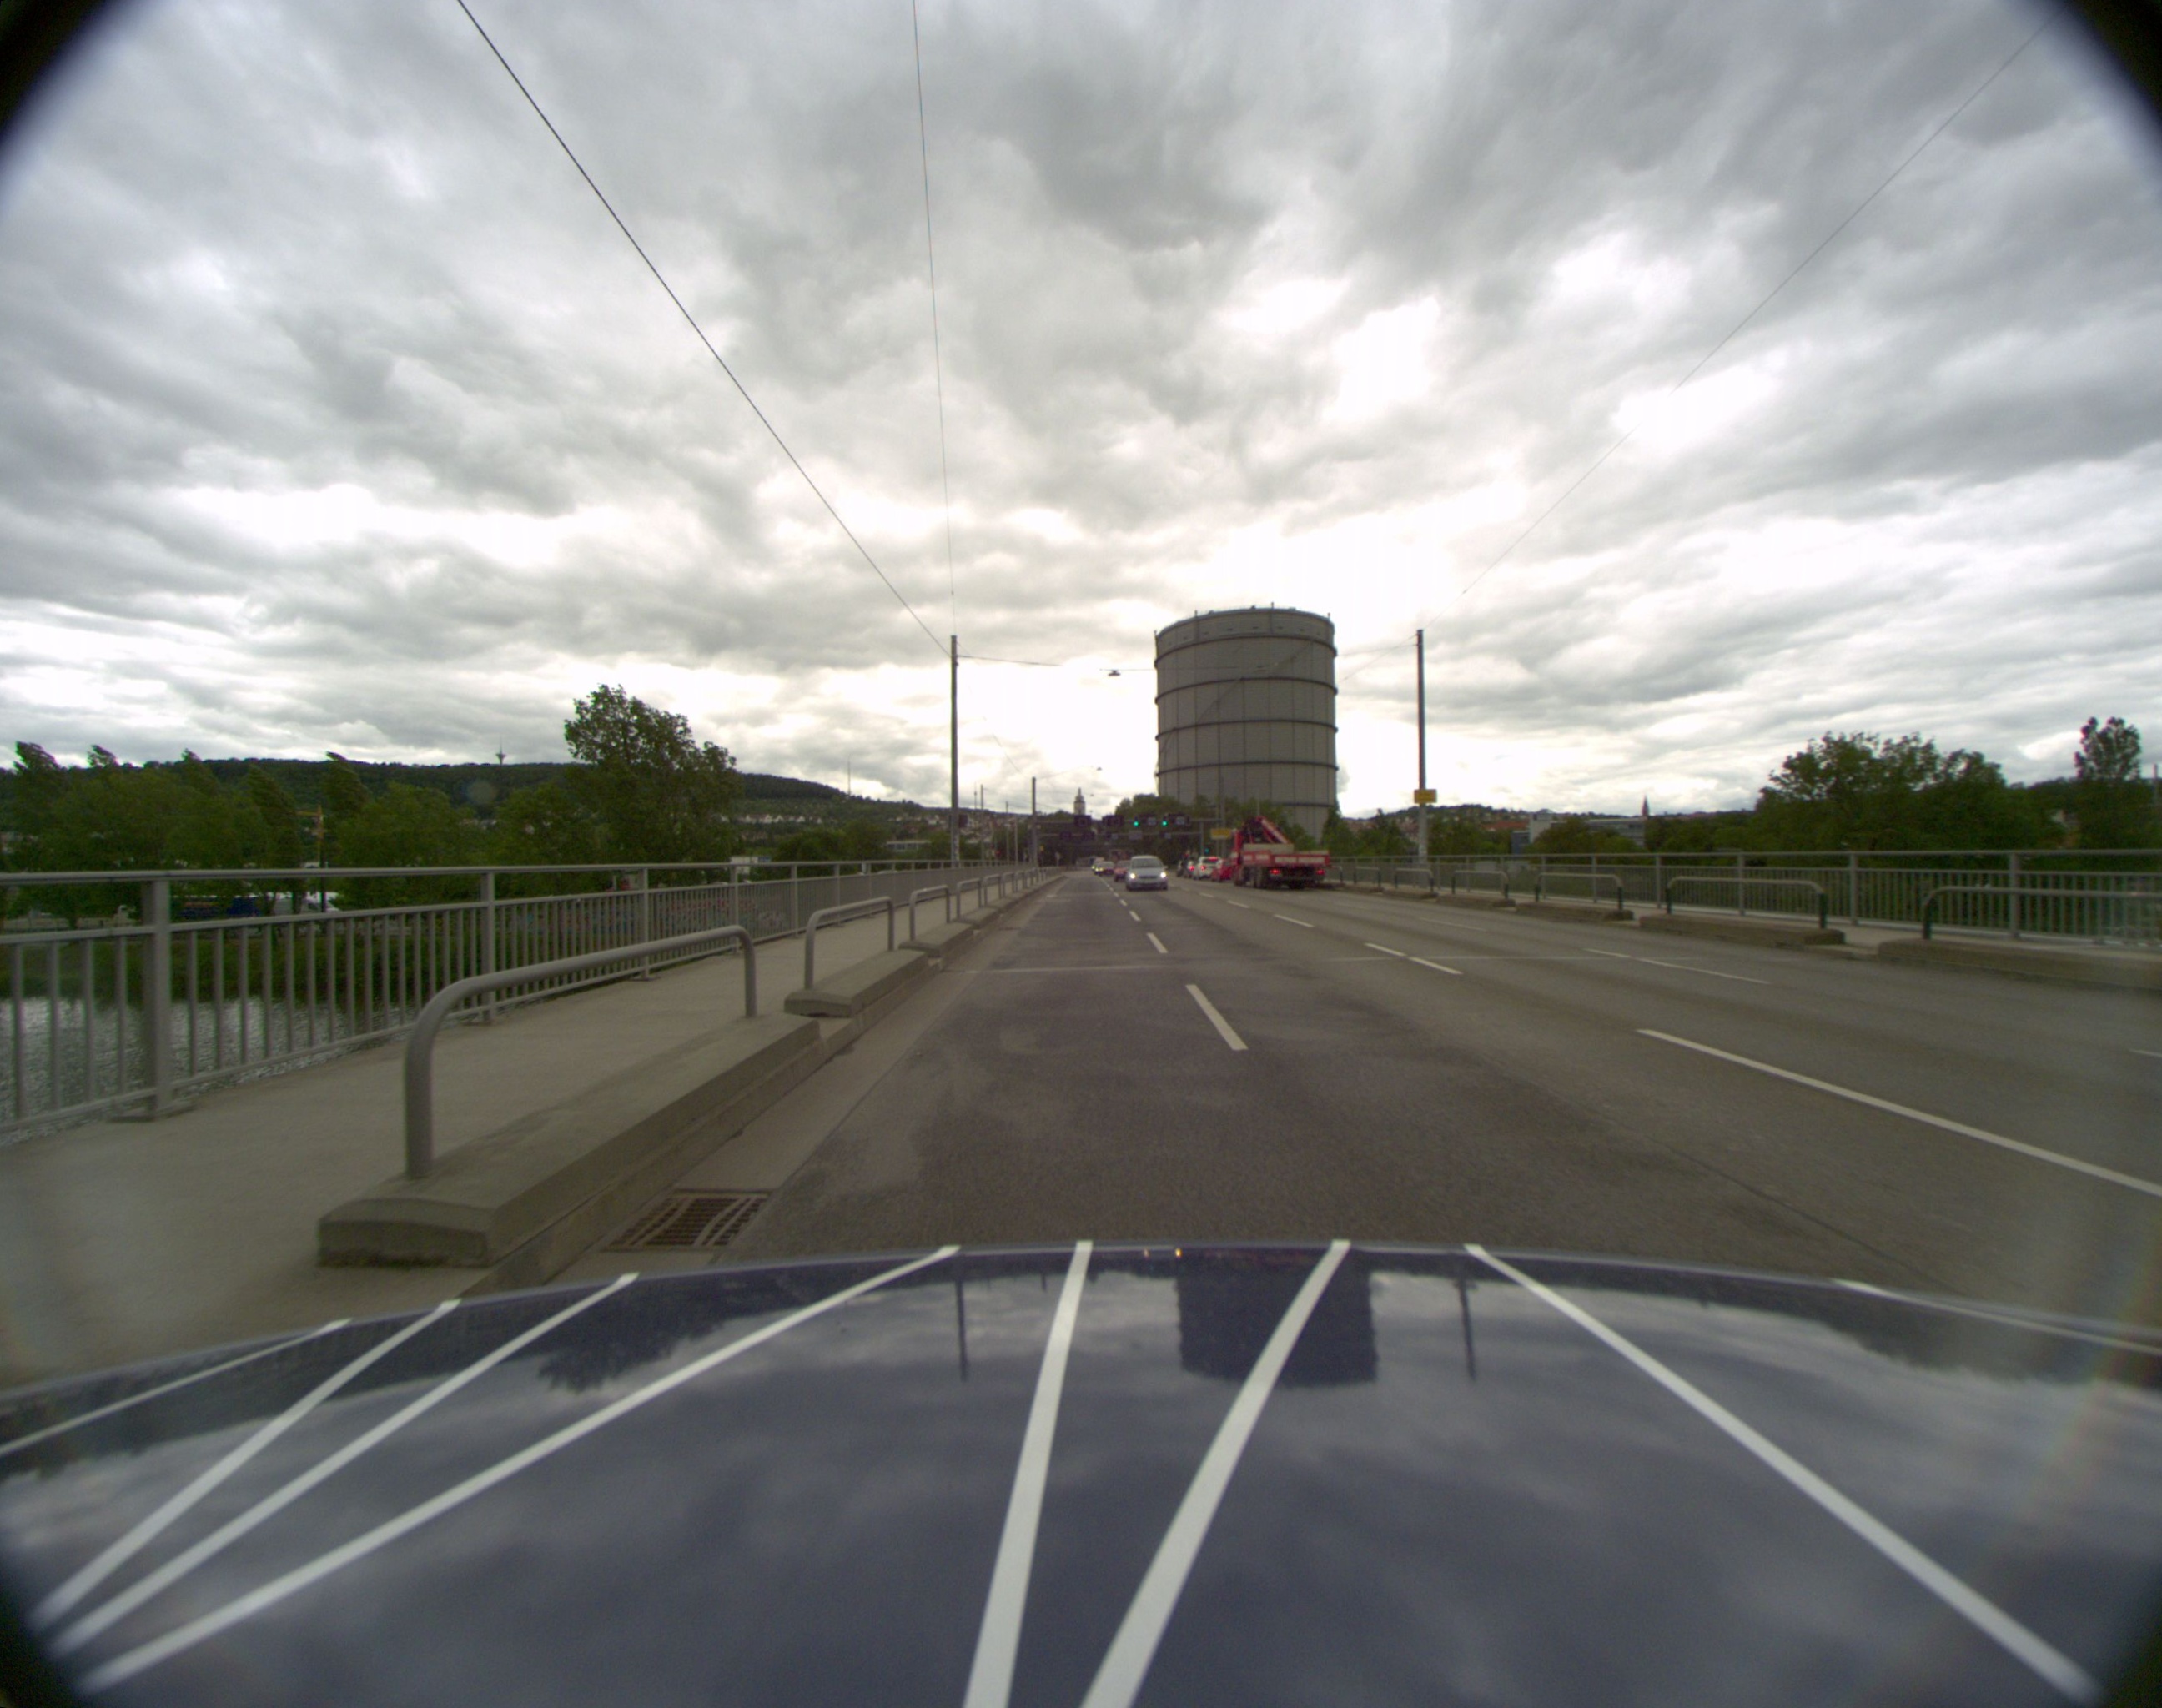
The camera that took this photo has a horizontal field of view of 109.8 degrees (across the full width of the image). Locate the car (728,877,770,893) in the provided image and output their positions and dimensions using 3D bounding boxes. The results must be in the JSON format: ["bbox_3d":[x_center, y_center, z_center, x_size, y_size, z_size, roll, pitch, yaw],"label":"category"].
[{"bbox_3d":[-39.077,3.632,89.449,4.045,1.531,1.695,-3,0,-1],"label":"car"}]

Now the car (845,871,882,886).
[{"bbox_3d":[-25.702,2.926,89.763,3.757,1.531,1.695,-3,0,-1],"label":"car"}]

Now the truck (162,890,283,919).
[{"bbox_3d":[-130.325,7.681,115.435,14.417,3.893,3.381,2,0,0],"label":"truck"}]

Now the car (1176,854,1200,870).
[{"bbox_3d":[10.143,0.776,72.010,1.840,1.495,3.872,0,0,2],"label":"car"}]

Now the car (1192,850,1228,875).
[{"bbox_3d":[9.440,0.627,56.065,1.884,1.750,4.803,0,0,0],"label":"car"}]

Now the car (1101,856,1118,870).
[{"bbox_3d":[2.933,0.920,78.197,1.696,1.411,4.469,-1,-1,1],"label":"car"}]

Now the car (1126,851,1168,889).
[{"bbox_3d":[2.994,0.731,35.153,1.746,1.594,3.683,-2,-1,3],"label":"car"}]

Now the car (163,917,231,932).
[{"bbox_3d":[-124.272,9.882,106.884,6.010,1.531,2.700,-3,0,-4],"label":"car"}]

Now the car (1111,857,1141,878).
[{"bbox_3d":[3.072,0.926,52.710,1.747,1.454,3.955,0,-1,-2],"label":"car"}]

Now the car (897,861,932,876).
[{"bbox_3d":[-19.646,1.724,89.746,3.621,1.531,1.695,-3,0,-1],"label":"car"}]

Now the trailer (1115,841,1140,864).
[{"bbox_3d":[9.287,-0.221,153.765,3.669,4.295,13.780,2,-1,-2],"label":"trailer"}]

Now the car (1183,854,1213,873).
[{"bbox_3d":[9.840,0.792,64.087,1.840,1.495,4.517,0,0,0],"label":"car"}]

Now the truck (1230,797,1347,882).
[{"bbox_3d":[9.659,-0.551,36.750,3.013,3.544,9.983,0,0,0],"label":"truck"}]

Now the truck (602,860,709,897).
[{"bbox_3d":[-49.900,2.801,89.326,10.423,3.856,3.226,-2,0,-3],"label":"truck"}]

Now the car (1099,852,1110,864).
[{"bbox_3d":[5.211,0.910,169.706,2.331,2.509,4.949,1,0,1],"label":"car"}]

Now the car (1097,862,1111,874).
[{"bbox_3d":[2.838,1.660,93.962,1.696,1.411,4.468,1,-1,1],"label":"car"}]

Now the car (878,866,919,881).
[{"bbox_3d":[-22.337,2.392,93.091,4.339,1.610,2.000,-3,1,0],"label":"car"}]

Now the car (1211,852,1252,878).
[{"bbox_3d":[9.615,0.716,48.948,1.884,1.593,4.015,0,0,0],"label":"car"}]

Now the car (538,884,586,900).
[{"bbox_3d":[-62.384,4.542,91.407,4.390,1.531,1.921,-3,0,-1],"label":"car"}]
